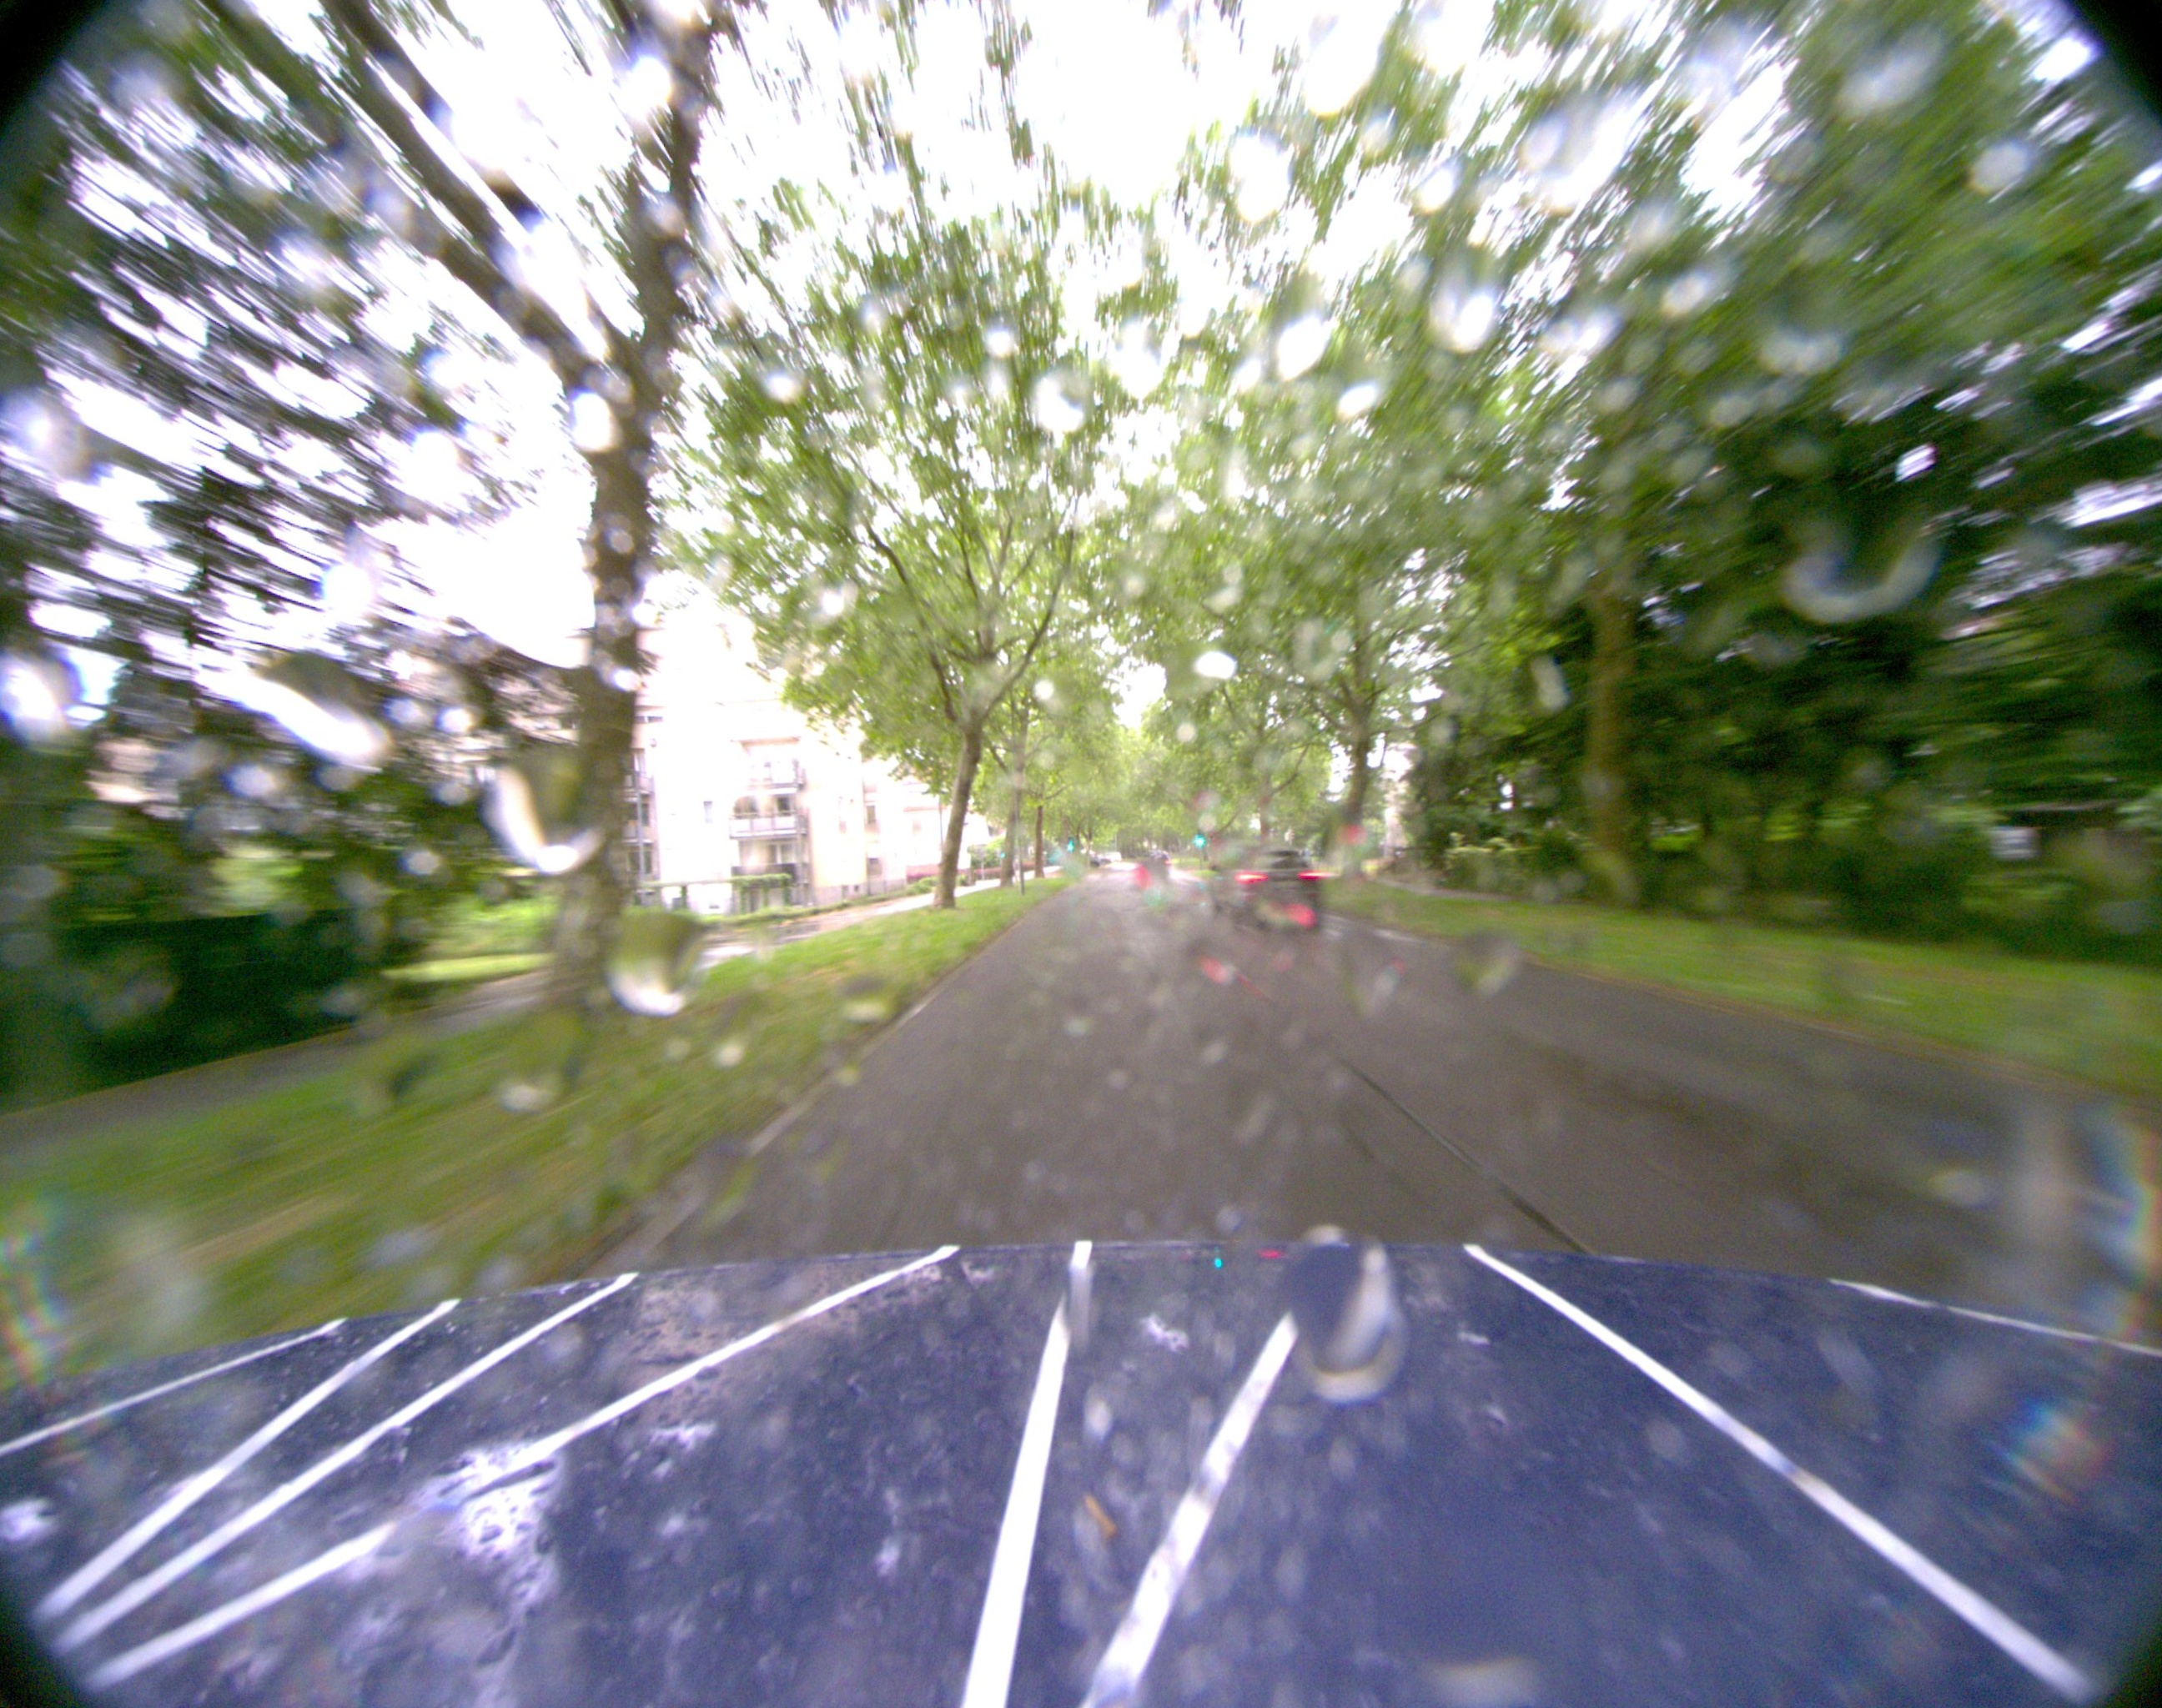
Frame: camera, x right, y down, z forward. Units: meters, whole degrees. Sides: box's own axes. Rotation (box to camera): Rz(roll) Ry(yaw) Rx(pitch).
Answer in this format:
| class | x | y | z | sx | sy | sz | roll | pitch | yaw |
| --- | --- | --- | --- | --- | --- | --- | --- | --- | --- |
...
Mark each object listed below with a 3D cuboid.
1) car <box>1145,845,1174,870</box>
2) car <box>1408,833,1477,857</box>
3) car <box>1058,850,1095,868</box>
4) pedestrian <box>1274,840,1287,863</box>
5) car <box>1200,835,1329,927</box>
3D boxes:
| class | x | y | z | sx | sy | sz | roll | pitch | yaw |
| --- | --- | --- | --- | --- | --- | --- | --- | --- | --- |
| car | 5.731 | 0.225 | 56.089 | 1.822 | 1.645 | 4.774 | -3 | 1 | 3 |
| car | 29.806 | -0.749 | 62.816 | 4.714 | 1.678 | 2.001 | -3 | 1 | 10 |
| car | -0.467 | 0.566 | 90.710 | 4.262 | 1.846 | 1.892 | -3 | 1 | 1 |
| pedestrian | 13.291 | -0.176 | 50.648 | 0.599 | 1.445 | 0.857 | -3 | 1 | 3 |
| car | 3.944 | 0.509 | 17.079 | 1.813 | 1.718 | 4.454 | -3 | 1 | 1 |
